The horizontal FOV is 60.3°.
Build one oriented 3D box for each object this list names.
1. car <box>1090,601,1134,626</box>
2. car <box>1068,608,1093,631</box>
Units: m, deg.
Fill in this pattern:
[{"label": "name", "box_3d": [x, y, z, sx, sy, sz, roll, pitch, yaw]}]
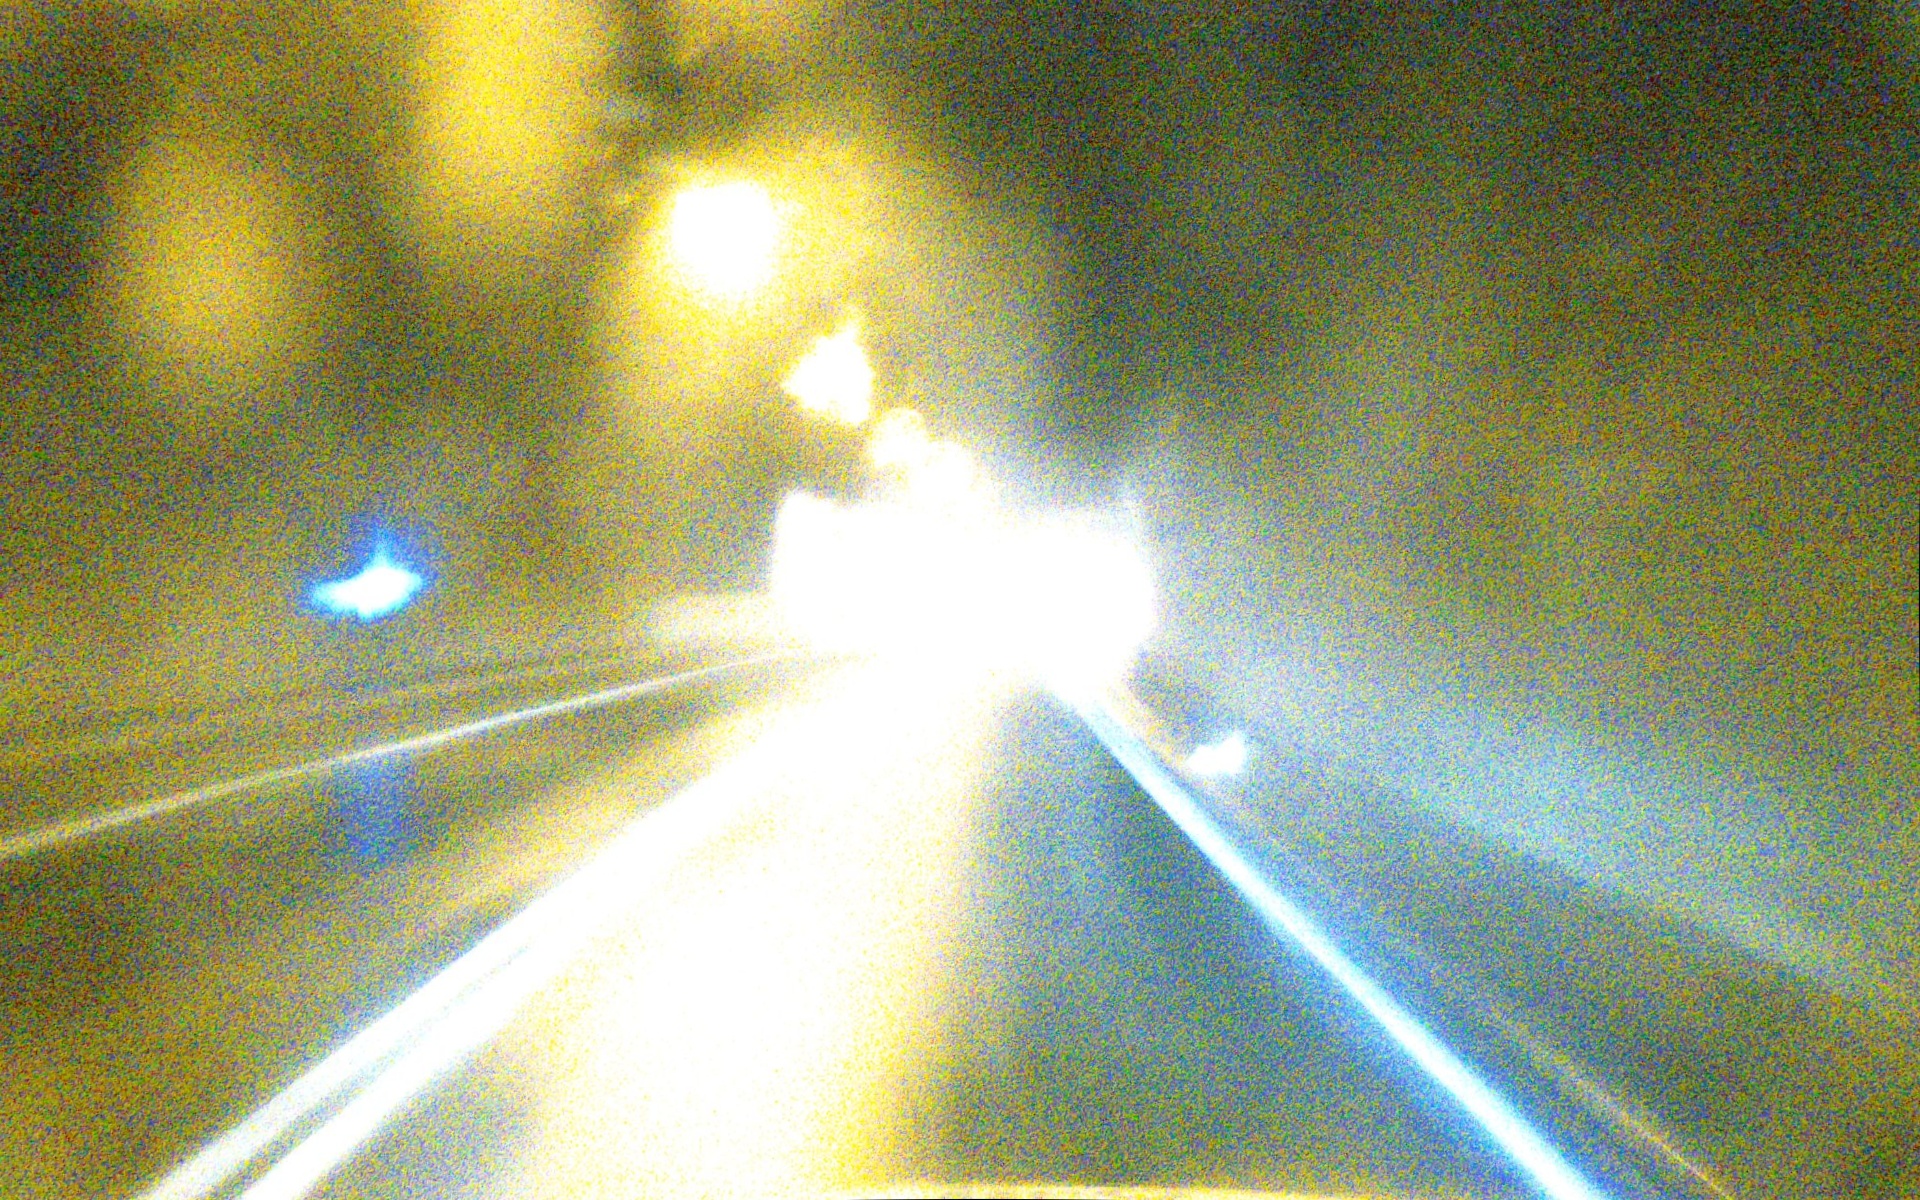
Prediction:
[{"label": "car", "box_3d": [10.677, 0.955, 115.884, 1.953, 1.679, 3.999, 2, 0, 22]}, {"label": "car", "box_3d": [8.605, 1.355, 117.998, 1.673, 1.536, 4.082, 2, 0, 5]}]
